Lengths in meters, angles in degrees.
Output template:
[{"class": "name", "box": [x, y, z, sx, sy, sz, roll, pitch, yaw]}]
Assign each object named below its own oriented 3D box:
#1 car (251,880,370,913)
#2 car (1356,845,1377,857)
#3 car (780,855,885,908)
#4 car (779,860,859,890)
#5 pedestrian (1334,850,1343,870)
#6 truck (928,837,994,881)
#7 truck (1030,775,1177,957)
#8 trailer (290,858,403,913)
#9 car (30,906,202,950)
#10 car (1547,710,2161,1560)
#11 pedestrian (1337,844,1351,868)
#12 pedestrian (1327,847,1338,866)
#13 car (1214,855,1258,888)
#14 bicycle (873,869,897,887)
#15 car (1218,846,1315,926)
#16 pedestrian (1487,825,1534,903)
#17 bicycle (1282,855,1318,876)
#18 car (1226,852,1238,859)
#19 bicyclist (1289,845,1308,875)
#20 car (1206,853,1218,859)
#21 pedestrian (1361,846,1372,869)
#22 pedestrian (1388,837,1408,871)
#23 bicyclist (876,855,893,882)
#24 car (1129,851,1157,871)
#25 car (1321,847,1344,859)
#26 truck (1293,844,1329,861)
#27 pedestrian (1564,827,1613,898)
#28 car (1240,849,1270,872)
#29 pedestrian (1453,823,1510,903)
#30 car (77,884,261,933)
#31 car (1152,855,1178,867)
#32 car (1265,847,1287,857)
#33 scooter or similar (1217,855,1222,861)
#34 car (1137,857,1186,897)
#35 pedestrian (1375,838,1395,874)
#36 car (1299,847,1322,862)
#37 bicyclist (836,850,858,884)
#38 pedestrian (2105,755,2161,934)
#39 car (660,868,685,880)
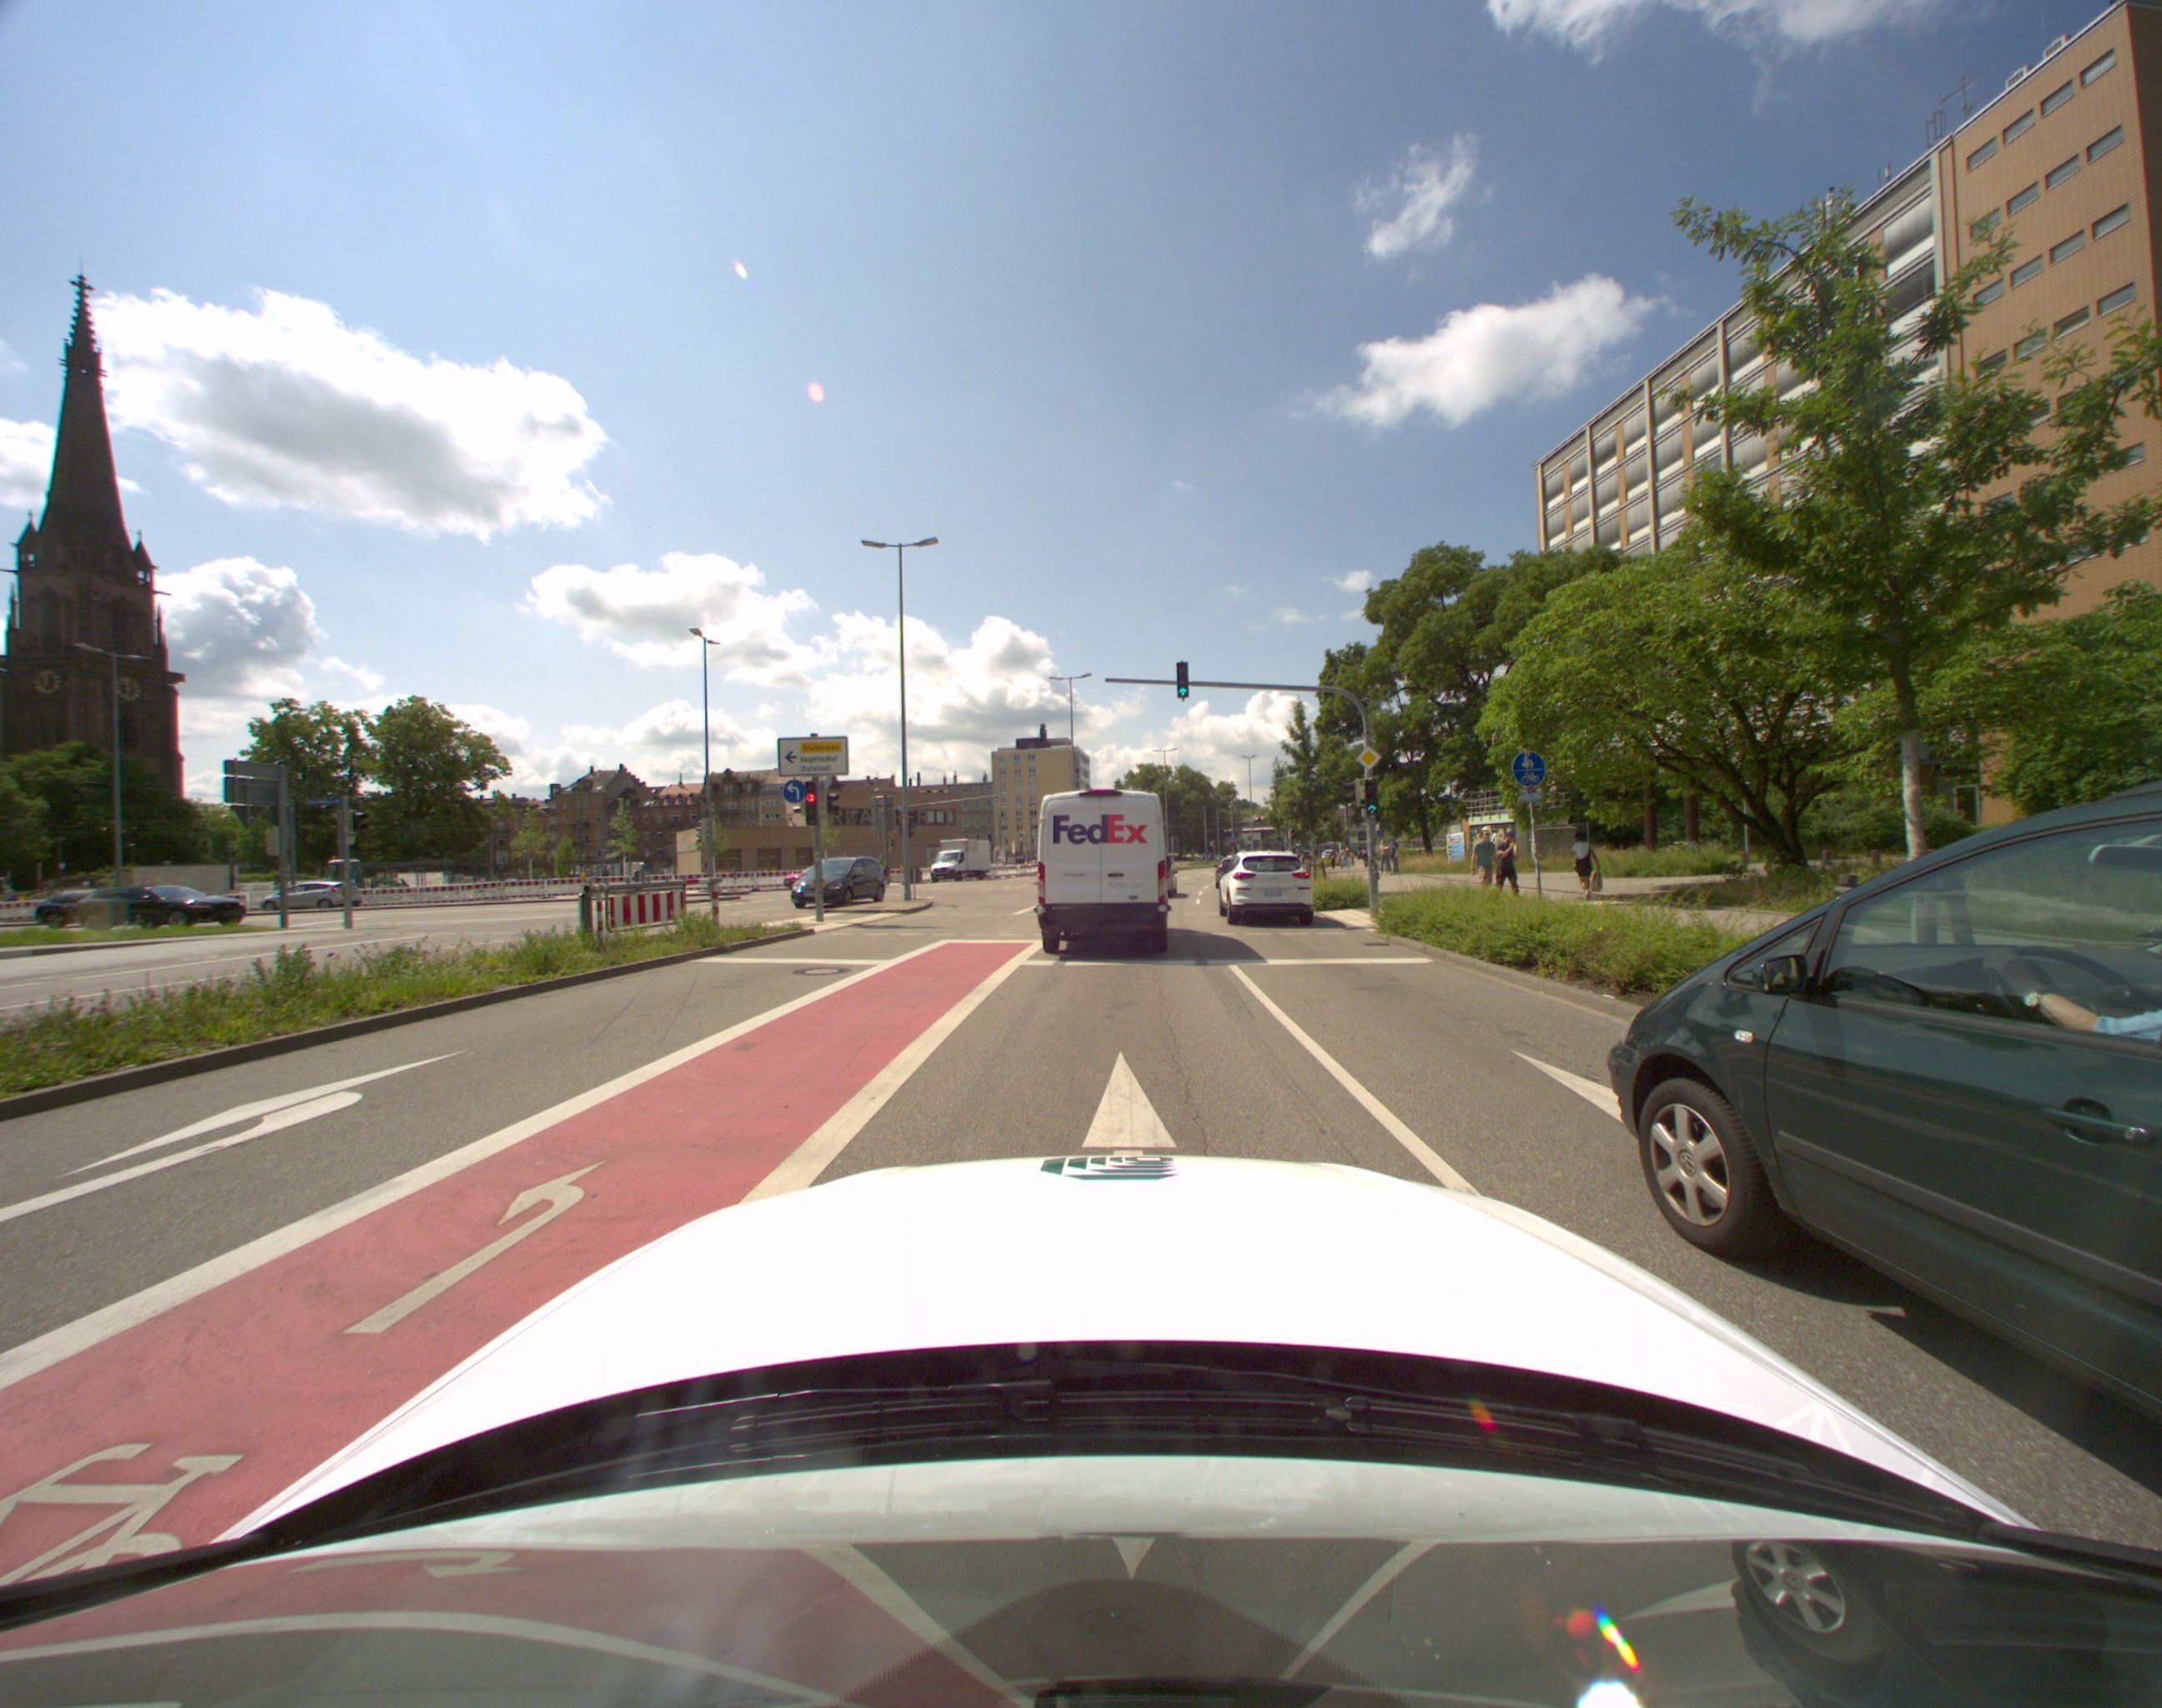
[{"class": "car", "box": [-37.962, 2.073, 40.201, 3.990, 1.508, 2.000, -1, -1, 1]}, {"class": "car", "box": [42.098, -0.394, 119.937, 1.863, 1.641, 3.982, -2, 0, 36]}, {"class": "car", "box": [-8.225, 0.855, 27.414, 1.872, 1.623, 4.162, -1, 0, 6]}, {"class": "car", "box": [-14.992, 1.194, 46.666, 3.924, 1.486, 1.977, -2, 0, -38]}, {"class": "pedestrian", "box": [21.419, 0.506, 67.683, 0.584, 1.626, 0.729, -1, -1, 9]}, {"class": "truck", "box": [-8.754, 0.402, 60.124, 1.978, 3.068, 7.360, -1, -1, 15]}, {"class": "truck", "box": [0.470, 0.198, 14.911, 2.128, 2.640, 5.921, -1, -1, 3]}, {"class": "trailer", "box": [-41.137, 1.719, 45.694, 1.974, 2.914, 4.393, -1, -1, 37]}, {"class": "car", "box": [-41.118, 3.117, 34.802, 4.644, 1.486, 1.997, -2, 0, -4]}, {"class": "car", "box": [3.092, 0.570, 1.787, 1.787, 1.723, 4.451, 0, 0, 3]}, {"class": "pedestrian", "box": [21.025, 0.166, 65.078, 0.753, 1.821, 0.781, -5, -1, 3]}, {"class": "pedestrian", "box": [21.780, 0.213, 70.483, 0.752, 1.590, 0.762, -1, -1, 3]}, {"class": "car", "box": [7.348, 0.794, 38.724, 1.903, 1.420, 3.929, -2, 0, 10]}, {"class": "bicycle", "box": [-10.788, 1.303, 44.785, 0.563, 0.889, 1.749, -2, 0, 12]}, {"class": "car", "box": [4.296, 0.684, 19.420, 1.870, 1.641, 4.242, -2, 0, 8]}, {"class": "pedestrian", "box": [9.931, 0.228, 18.842, 0.665, 1.746, 0.608, -3, 0, -5]}, {"class": "bicycle", "box": [12.056, 0.630, 44.881, 1.799, 1.050, 0.593, -5, -2, 7]}, {"class": "car", "box": [36.918, 0.379, 199.250, 1.976, 1.574, 4.200, -1, -1, 23]}, {"class": "bicyclist", "box": [11.992, 0.349, 44.893, 0.823, 1.601, 0.581, -5, -2, 8]}, {"class": "car", "box": [32.312, 0.466, 201.509, 1.976, 1.574, 4.200, -1, -1, 23]}, {"class": "pedestrian", "box": [22.967, 0.281, 65.547, 0.751, 1.821, 0.676, -1, -1, 10]}, {"class": "pedestrian", "box": [16.474, -0.004, 42.320, 0.745, 1.752, 0.611, -3, 0, 7]}, {"class": "bicyclist", "box": [-10.798, 0.798, 44.833, 0.561, 1.461, 0.839, -2, 0, 11]}, {"class": "car", "box": [6.668, 0.765, 86.622, 1.977, 2.014, 4.142, -1, -1, 19]}, {"class": "car", "box": [35.264, -0.152, 114.246, 1.863, 1.641, 3.982, -2, 0, 36]}, {"class": "truck", "box": [43.717, -0.297, 154.590, 2.858, 2.852, 8.845, -2, 0, 43]}, {"class": "pedestrian", "box": [11.872, 0.199, 19.060, 0.664, 1.596, 0.648, -3, 0, 0]}, {"class": "car", "box": [13.508, 0.474, 63.111, 1.866, 1.641, 3.975, -2, 0, 17]}, {"class": "pedestrian", "box": [9.212, 0.203, 18.781, 0.748, 1.777, 0.880, -3, 0, -5]}, {"class": "car", "box": [-33.825, 2.000, 30.304, 4.481, 1.486, 2.000, -2, 0, 0]}, {"class": "car", "box": [14.386, 1.167, 139.249, 4.045, 1.925, 1.816, -1, -1, 13]}, {"class": "car", "box": [37.057, -0.357, 154.781, 4.768, 1.800, 1.702, -2, -1, -45]}, {"class": "scooter or similar", "box": [25.589, 0.779, 150.469, 0.374, 1.115, 1.101, -2, -2, 44]}, {"class": "car", "box": [3.121, 0.845, 32.015, 1.733, 1.391, 4.184, -2, 0, 4]}, {"class": "pedestrian", "box": [15.641, 0.101, 41.933, 0.745, 1.802, 0.611, -3, 0, 7]}, {"class": "car", "box": [28.325, 0.058, 100.492, 1.863, 1.641, 3.981, -2, 0, 28]}, {"class": "bicyclist", "box": [-11.620, 0.634, 40.429, 0.772, 1.618, 0.844, -2, 0, 4]}, {"class": "pedestrian", "box": [10.913, -0.113, 8.006, 0.747, 1.750, 0.667, -3, 0, 0]}, {"class": "car", "box": [-83.997, 4.078, 167.472, 4.085, 2.343, 2.004, -1, -1, 7]}]
